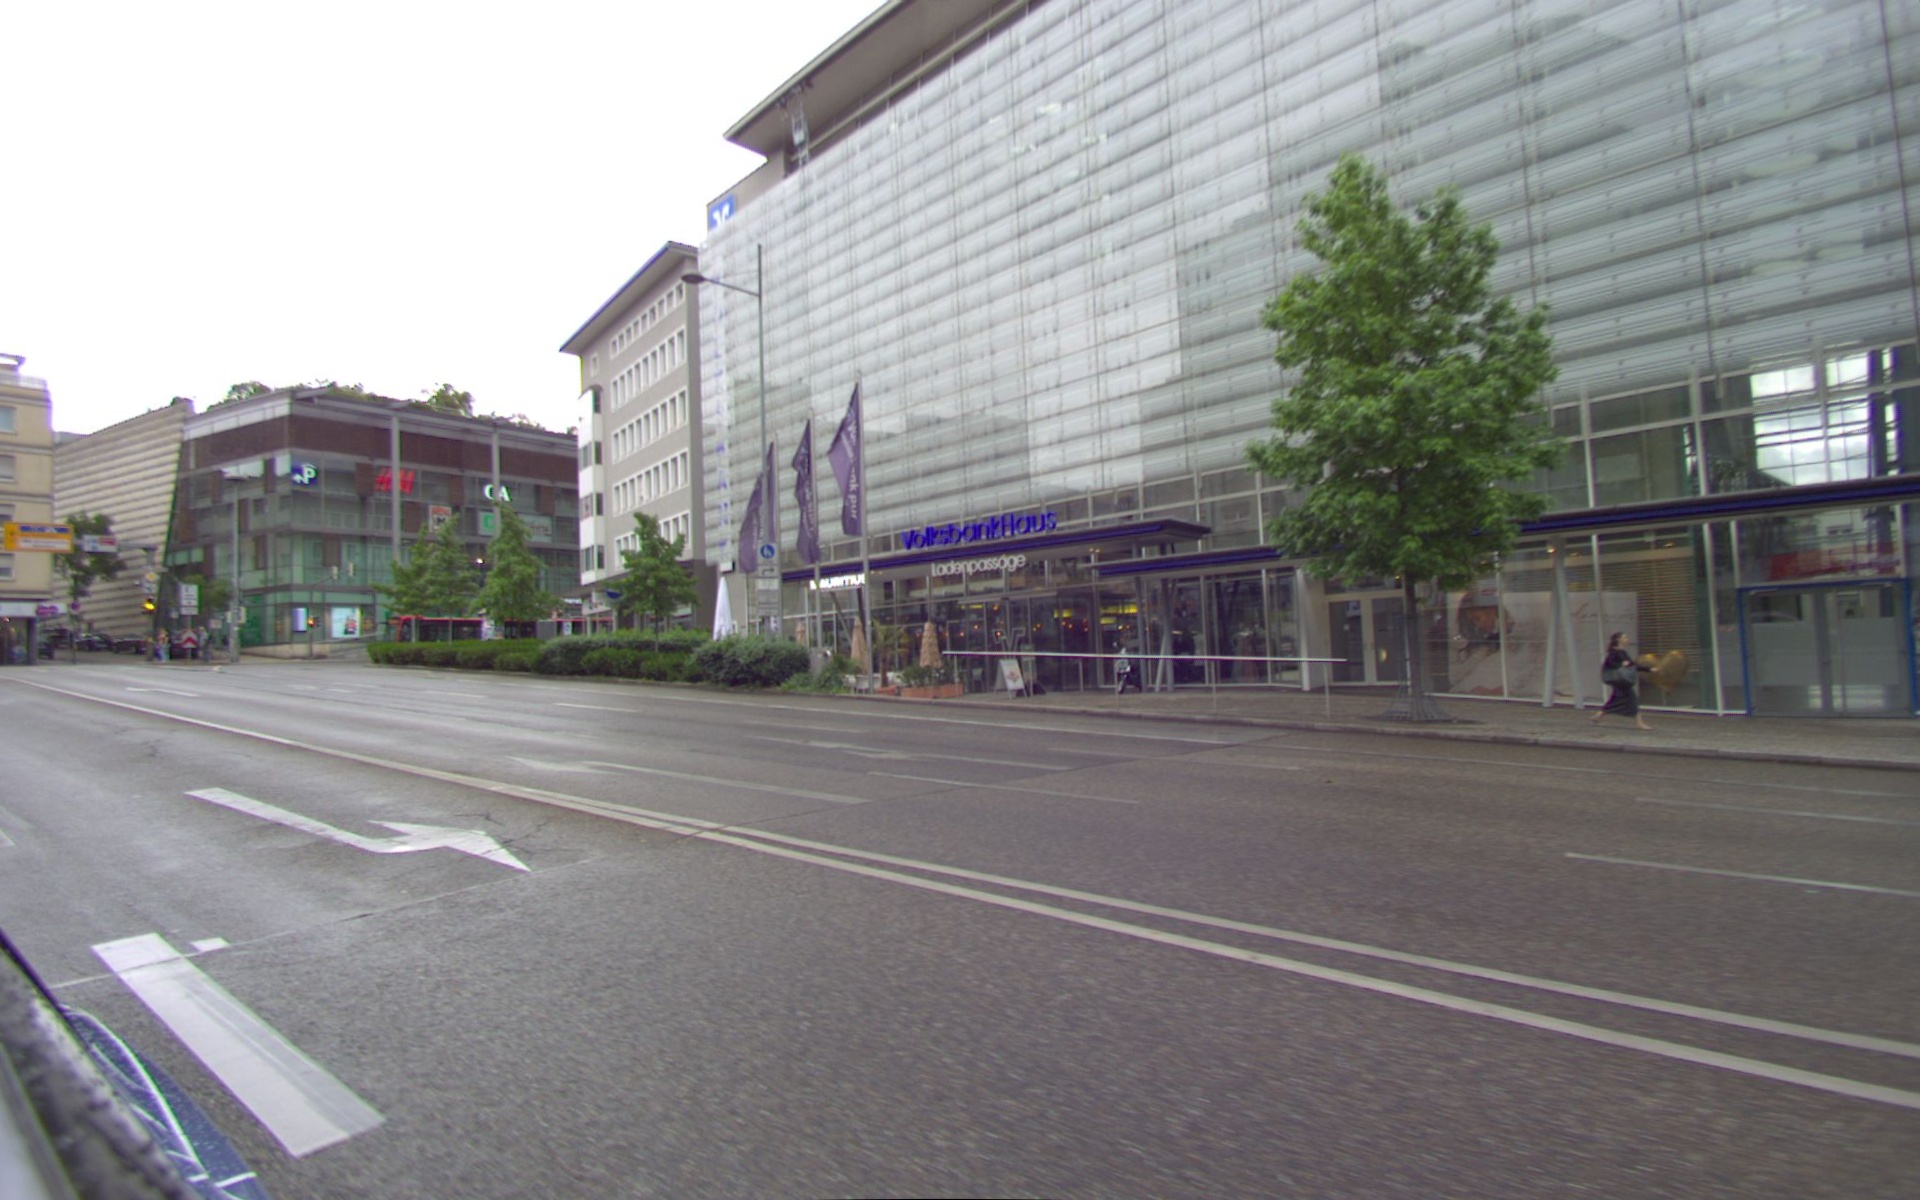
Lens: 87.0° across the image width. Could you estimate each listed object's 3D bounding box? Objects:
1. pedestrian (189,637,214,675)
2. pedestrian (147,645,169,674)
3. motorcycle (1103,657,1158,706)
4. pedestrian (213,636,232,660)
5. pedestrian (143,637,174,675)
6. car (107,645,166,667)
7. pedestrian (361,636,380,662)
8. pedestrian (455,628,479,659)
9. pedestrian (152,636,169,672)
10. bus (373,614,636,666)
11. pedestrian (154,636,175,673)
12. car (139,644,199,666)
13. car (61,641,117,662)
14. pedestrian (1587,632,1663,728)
[{"bbox_3d":[-35.844,2.658,47.816,0.829,1.792,0.611,-2,-4,31],"label":"pedestrian"},{"bbox_3d":[-38.319,2.851,48.361,0.629,1.350,0.582,-2,-4,31],"label":"pedestrian"},{"bbox_3d":[4.878,2.311,28.935,1.529,1.305,0.769,2,-3,-44],"label":"motorcycle"},{"bbox_3d":[-54.887,3.589,75.286,1.043,1.775,0.689,-3,-5,25],"label":"pedestrian"},{"bbox_3d":[-39.191,2.733,49.507,1.009,1.801,0.844,-2,-4,30],"label":"pedestrian"},{"bbox_3d":[-62.468,4.211,76.793,4.358,1.558,1.882,-1,-1,27],"label":"car"},{"bbox_3d":[-45.864,3.794,78.769,0.882,1.996,0.963,-3,-5,36],"label":"pedestrian"},{"bbox_3d":[-28.711,2.548,58.944,1.021,1.789,0.791,-2,-4,31],"label":"pedestrian"},{"bbox_3d":[-37.905,2.574,47.994,0.571,1.681,0.494,-4,-5,43],"label":"pedestrian"},{"bbox_3d":[-32.233,3.057,73.492,2.925,3.346,18.242,-3,-5,37],"label":"bus"},{"bbox_3d":[-37.385,2.571,47.572,0.629,1.702,0.784,3,-4,-45],"label":"pedestrian"},{"bbox_3d":[-57.737,4.030,73.882,4.275,1.558,1.789,-1,-3,27],"label":"car"},{"bbox_3d":[-68.914,4.044,80.051,4.358,1.558,1.882,-1,-1,27],"label":"car"},{"bbox_3d":[10.555,1.257,16.068,0.644,1.468,0.845,3,-4,-44],"label":"pedestrian"}]
